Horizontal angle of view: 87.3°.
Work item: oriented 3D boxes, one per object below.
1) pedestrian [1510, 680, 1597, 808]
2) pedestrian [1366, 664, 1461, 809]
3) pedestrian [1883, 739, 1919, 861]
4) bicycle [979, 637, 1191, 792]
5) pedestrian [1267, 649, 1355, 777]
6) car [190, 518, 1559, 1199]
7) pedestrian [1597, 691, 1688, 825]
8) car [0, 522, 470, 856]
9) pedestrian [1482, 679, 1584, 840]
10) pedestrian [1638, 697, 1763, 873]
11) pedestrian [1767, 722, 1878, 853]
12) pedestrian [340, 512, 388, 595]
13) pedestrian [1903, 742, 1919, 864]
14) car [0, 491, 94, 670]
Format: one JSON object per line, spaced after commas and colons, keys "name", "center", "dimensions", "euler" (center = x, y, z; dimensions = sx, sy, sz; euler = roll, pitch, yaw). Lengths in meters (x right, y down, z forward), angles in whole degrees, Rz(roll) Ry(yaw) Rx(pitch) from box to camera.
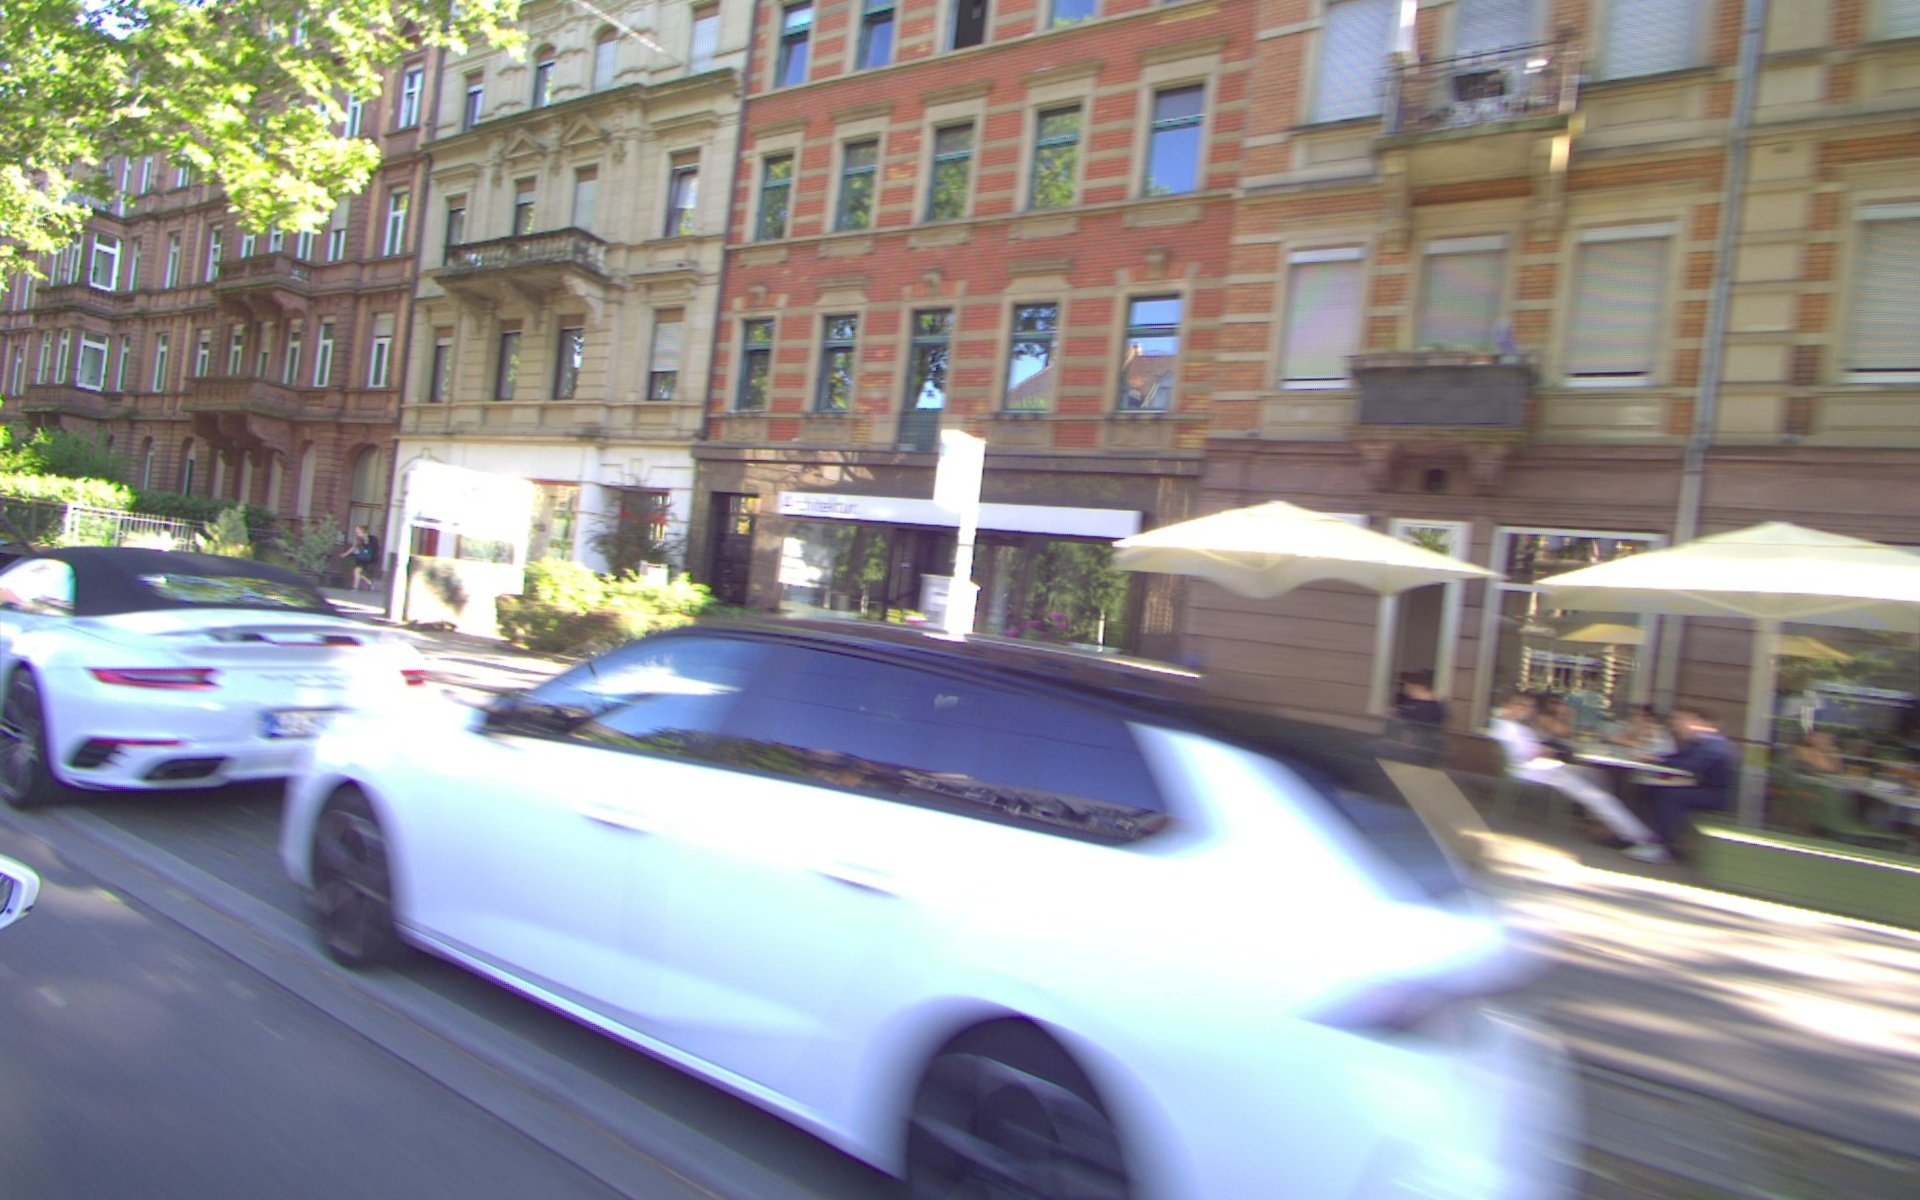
{"name": "pedestrian", "center": [6.766, 1.622, 11.484], "dimensions": [0.703, 1.316, 0.661], "euler": [7, 0, 31]}
{"name": "pedestrian", "center": [4.561, 1.347, 10.102], "dimensions": [0.652, 1.316, 0.714], "euler": [7, 0, 31]}
{"name": "pedestrian", "center": [9.615, 2.000, 9.948], "dimensions": [0.517, 1.152, 0.557], "euler": [7, 0, 31]}
{"name": "bicycle", "center": [1.153, 1.040, 9.544], "dimensions": [1.864, 1.158, 0.475], "euler": [7, 2, 32]}
{"name": "pedestrian", "center": [3.956, 1.259, 11.331], "dimensions": [0.652, 1.316, 0.713], "euler": [7, 0, 32]}
{"name": "car", "center": [-0.594, 0.711, 3.617], "dimensions": [4.569, 1.495, 1.805], "euler": [6, -1, 31]}
{"name": "pedestrian", "center": [7.446, 1.697, 11.009], "dimensions": [0.651, 1.316, 0.714], "euler": [7, 0, 31]}
{"name": "car", "center": [-5.067, 0.318, 6.118], "dimensions": [3.934, 1.342, 1.833], "euler": [6, -1, 32]}
{"name": "pedestrian", "center": [5.227, 1.421, 9.189], "dimensions": [0.651, 1.316, 0.714], "euler": [7, 0, 31]}
{"name": "pedestrian", "center": [6.235, 1.523, 8.506], "dimensions": [0.651, 1.316, 0.714], "euler": [7, 0, 31]}
{"name": "pedestrian", "center": [8.900, 1.909, 10.416], "dimensions": [0.651, 1.186, 0.714], "euler": [7, 0, 31]}
{"name": "pedestrian", "center": [-15.490, -1.212, 26.145], "dimensions": [0.623, 2.038, 0.673], "euler": [7, 0, 31]}
{"name": "pedestrian", "center": [9.279, 1.932, 9.365], "dimensions": [0.517, 1.115, 0.557], "euler": [7, 0, 31]}
{"name": "car", "center": [-10.552, -0.419, 9.887], "dimensions": [4.727, 1.555, 1.734], "euler": [6, -1, 33]}
